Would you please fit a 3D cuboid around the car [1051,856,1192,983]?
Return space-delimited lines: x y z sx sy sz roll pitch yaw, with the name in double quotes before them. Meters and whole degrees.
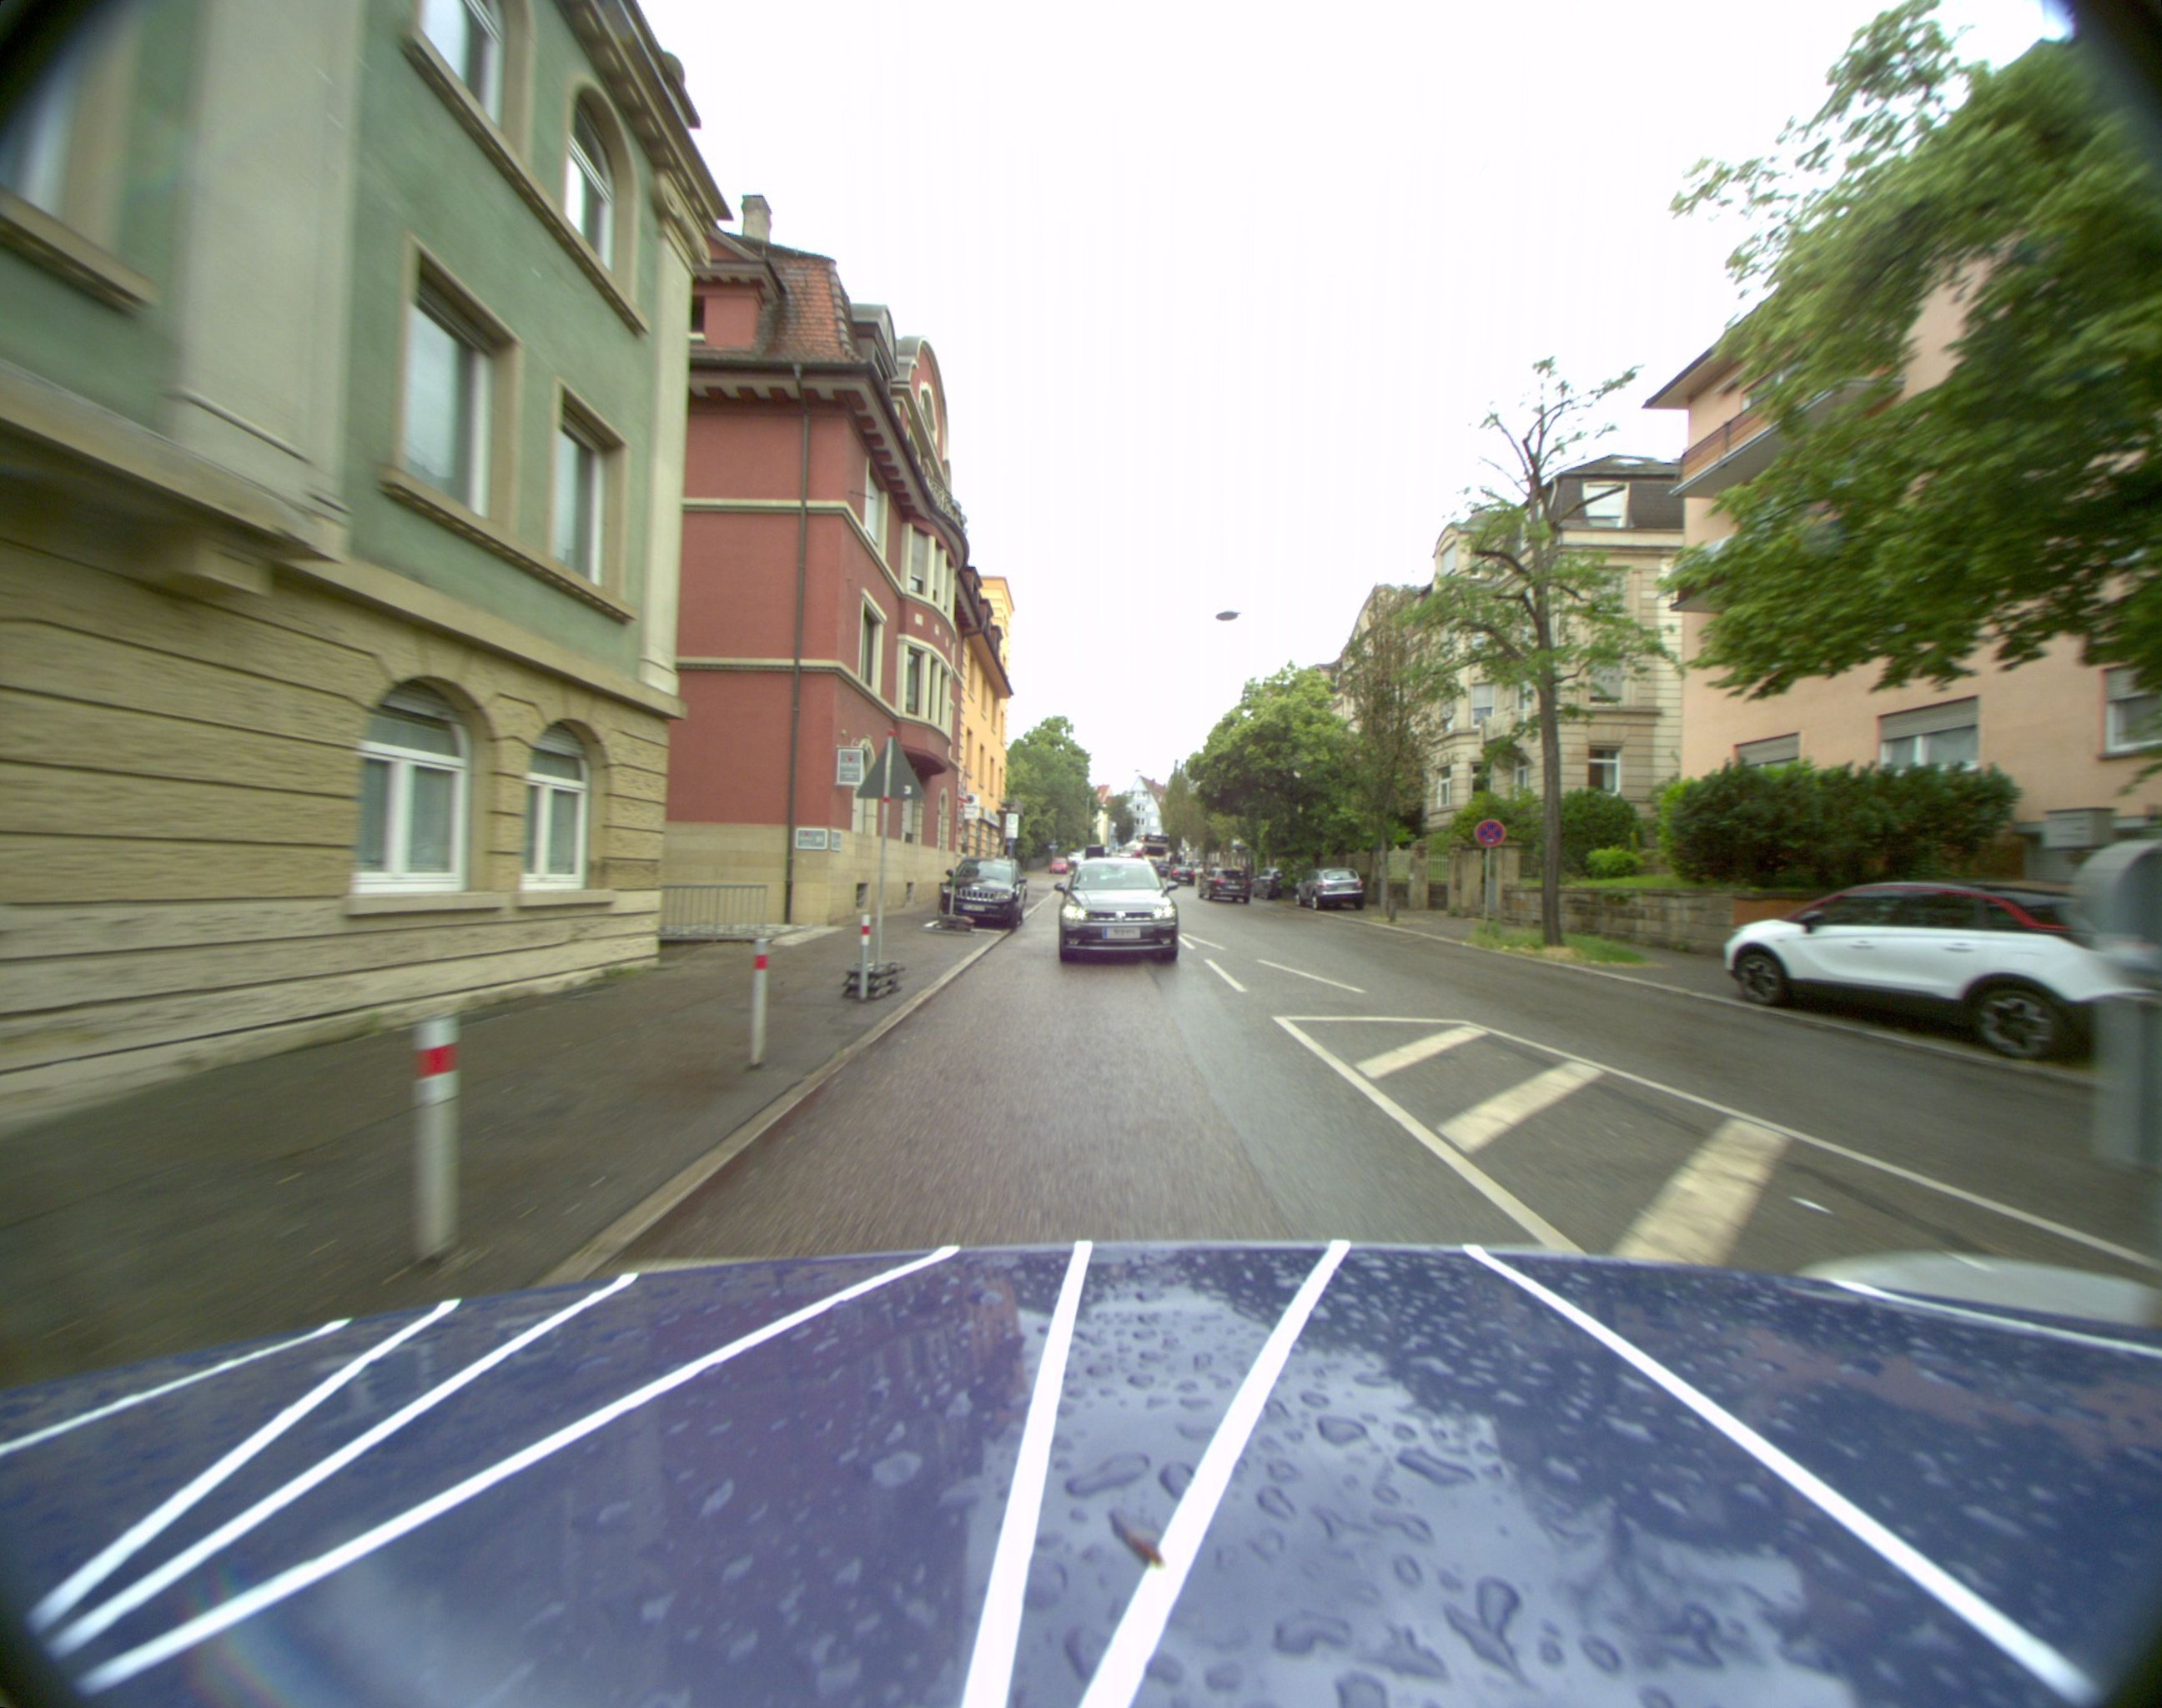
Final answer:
"car" 0.586 0.888 12.820 1.860 1.641 5.195 1 0 1

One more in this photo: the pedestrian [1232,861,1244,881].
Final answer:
"pedestrian" 11.863 1.272 57.487 0.768 1.424 0.759 2 2 1

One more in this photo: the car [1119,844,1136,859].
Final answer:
"car" 5.178 -0.264 84.282 1.776 1.509 4.100 2 1 4

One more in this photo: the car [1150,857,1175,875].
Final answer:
"car" 7.561 1.090 70.962 1.776 1.459 4.747 3 0 1

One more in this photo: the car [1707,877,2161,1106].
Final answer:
"car" 9.213 1.134 8.017 1.745 1.550 4.301 -1 1 1

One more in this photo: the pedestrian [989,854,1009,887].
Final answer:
"pedestrian" -3.980 0.799 36.816 0.769 1.580 0.711 1 2 -18

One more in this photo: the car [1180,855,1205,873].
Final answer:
"car" 10.563 0.941 72.158 1.746 1.550 4.301 -1 1 -1

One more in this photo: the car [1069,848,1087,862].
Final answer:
"car" -0.317 0.089 90.240 1.745 1.455 4.884 5 1 4

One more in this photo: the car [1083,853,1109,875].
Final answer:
"car" 1.293 0.799 63.283 1.924 1.641 4.135 0 1 5

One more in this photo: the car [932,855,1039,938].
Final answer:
"car" -2.230 0.945 19.112 1.881 1.620 4.697 4 1 1

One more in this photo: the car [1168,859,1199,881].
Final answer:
"car" 7.460 1.214 55.628 1.776 1.508 4.593 -1 -3 2

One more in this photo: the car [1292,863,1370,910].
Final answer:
"car" 9.609 1.203 29.560 1.745 1.550 4.301 -1 1 1

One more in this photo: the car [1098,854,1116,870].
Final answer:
"car" 2.946 0.869 86.188 1.925 1.641 4.135 0 1 4

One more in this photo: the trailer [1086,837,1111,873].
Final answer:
"trailer" 1.559 0.069 66.488 1.966 3.024 2.365 0 1 4

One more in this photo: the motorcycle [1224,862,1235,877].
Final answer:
"motorcycle" 12.217 1.268 62.594 0.657 1.230 1.763 2 1 4

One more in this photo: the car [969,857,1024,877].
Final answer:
"car" -6.774 1.058 61.416 4.280 1.489 2.002 -2 -1 -4

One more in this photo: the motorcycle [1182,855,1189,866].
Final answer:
"motorcycle" 11.641 0.717 84.562 0.657 1.228 1.982 2 1 5

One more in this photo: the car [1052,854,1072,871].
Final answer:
"car" -1.770 0.769 71.225 1.613 1.493 3.957 2 1 1

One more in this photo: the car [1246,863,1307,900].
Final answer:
"car" 9.642 1.298 37.793 1.746 1.550 4.300 -2 1 -2

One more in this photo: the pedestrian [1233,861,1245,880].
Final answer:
"pedestrian" 11.836 1.223 56.860 0.768 1.424 0.649 2 2 3

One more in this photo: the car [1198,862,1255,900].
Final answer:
"car" 6.435 1.152 34.129 1.819 1.508 4.549 3 0 2

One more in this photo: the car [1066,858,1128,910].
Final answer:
"car" 0.654 1.021 27.477 1.924 1.641 4.487 0 1 5

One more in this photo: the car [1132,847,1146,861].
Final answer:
"car" 8.194 -0.067 106.450 1.655 1.698 4.115 3 2 7

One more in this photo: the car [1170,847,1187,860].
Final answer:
"car" 12.475 -0.094 97.268 2.000 1.586 3.828 -2 1 6

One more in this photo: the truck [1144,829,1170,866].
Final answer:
"truck" 8.669 -0.726 87.382 2.653 3.832 9.309 3 1 5
